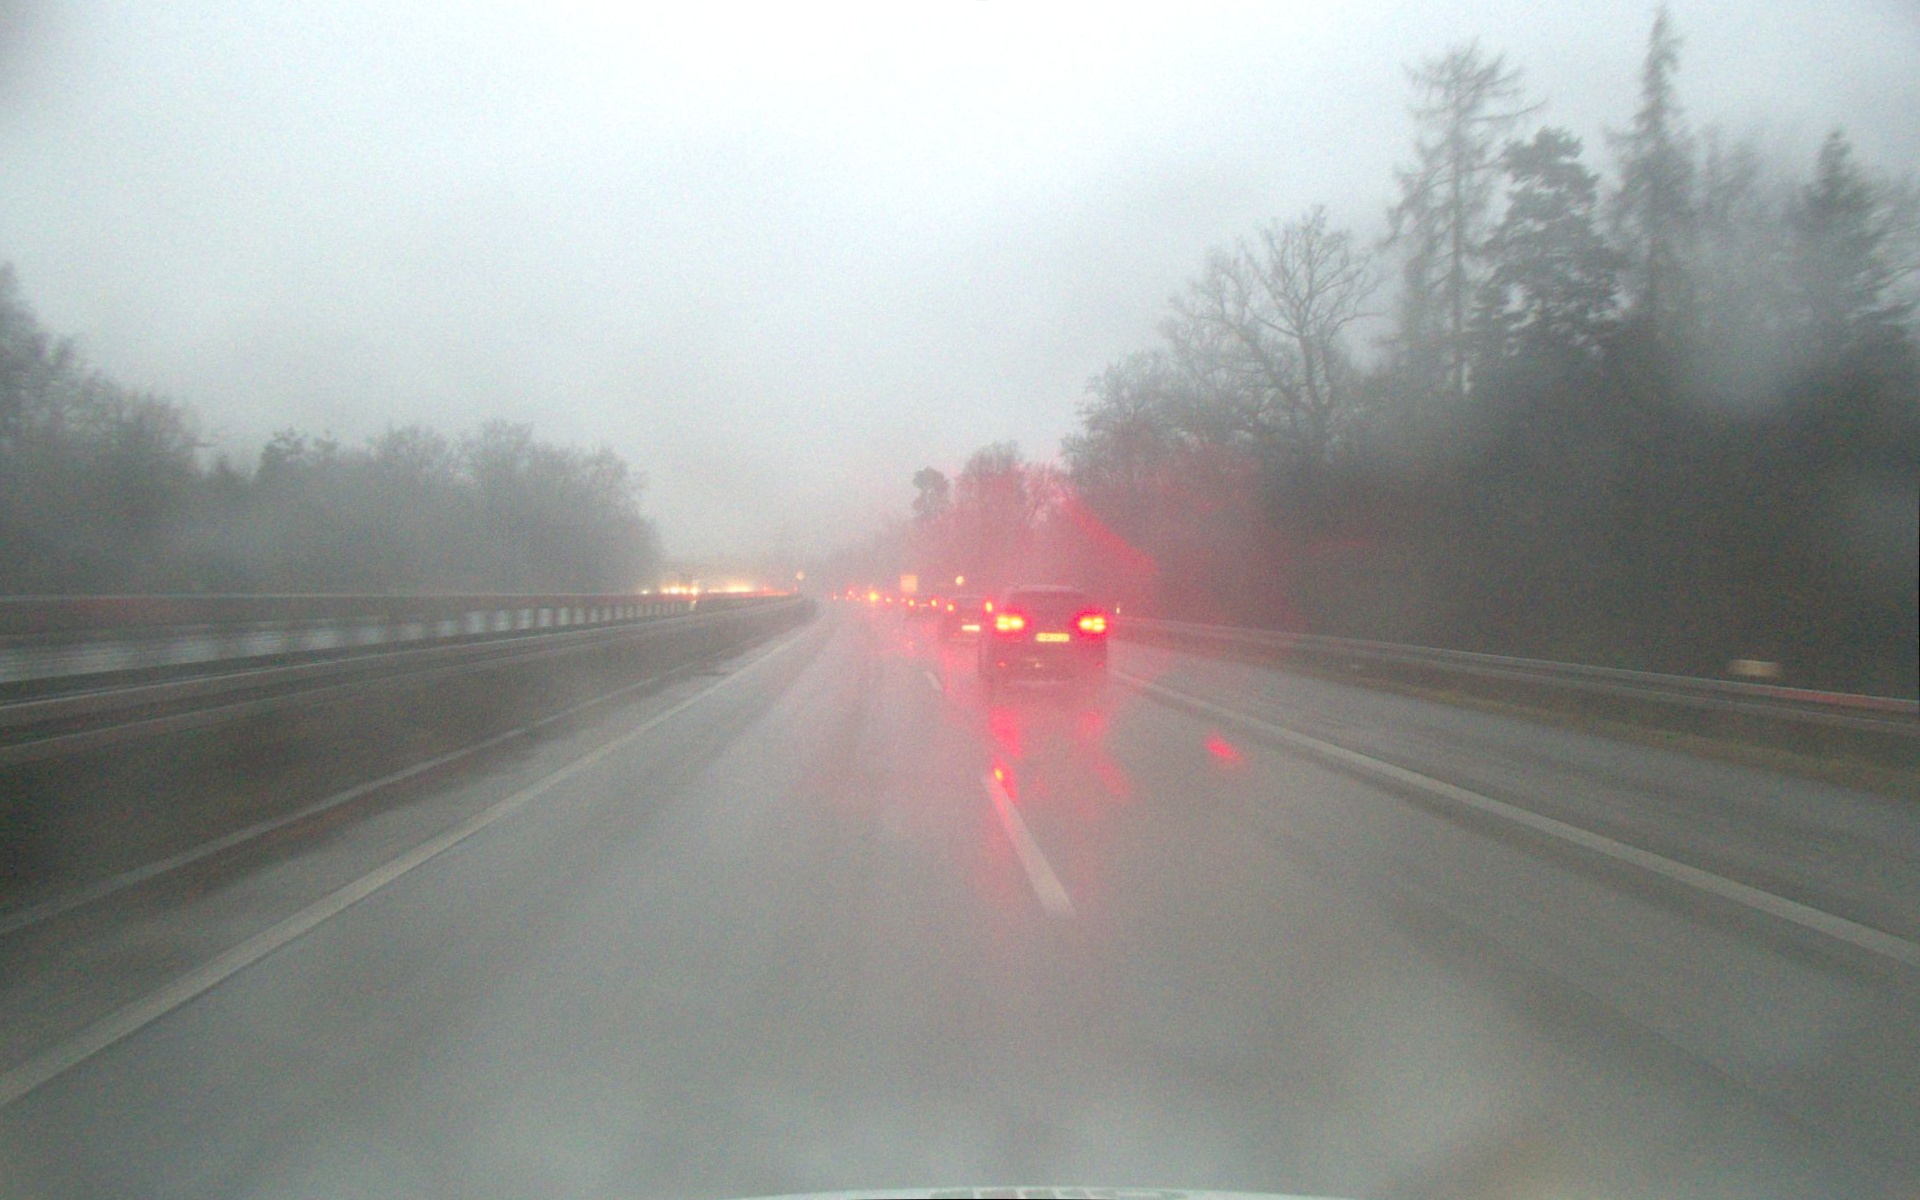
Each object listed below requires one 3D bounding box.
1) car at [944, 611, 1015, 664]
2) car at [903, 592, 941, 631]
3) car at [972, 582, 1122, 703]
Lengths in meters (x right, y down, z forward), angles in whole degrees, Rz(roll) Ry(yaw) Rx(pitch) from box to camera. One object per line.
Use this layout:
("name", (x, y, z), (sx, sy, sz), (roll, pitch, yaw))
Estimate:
("car", (0.548, 1.113, 50.482), (1.953, 1.445, 3.999), (3, 0, -1))
("car", (-2.075, 0.613, 89.491), (1.953, 2.049, 3.998), (1, 0, -2))
("car", (1.293, 0.623, 26.128), (1.952, 1.745, 3.828), (1, 0, -3))
